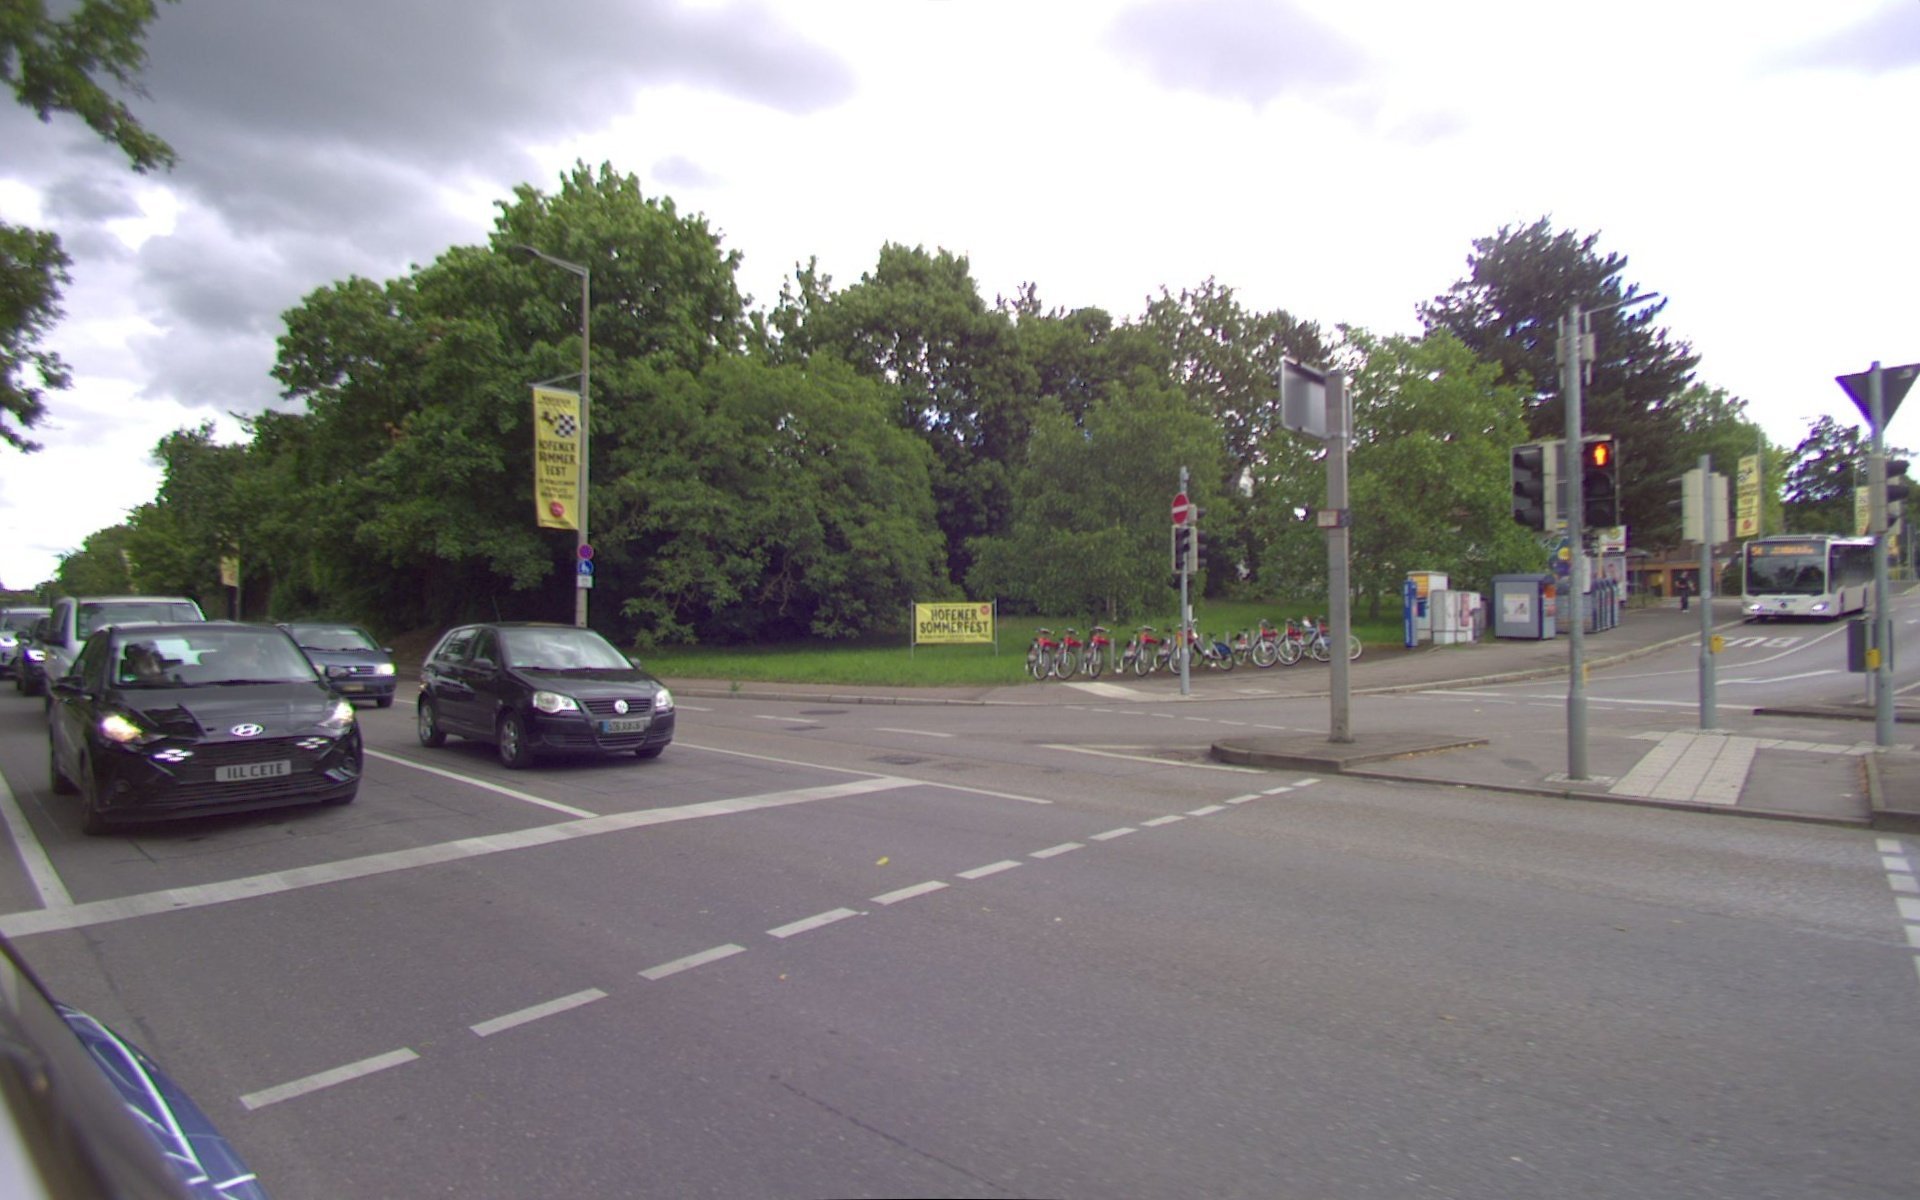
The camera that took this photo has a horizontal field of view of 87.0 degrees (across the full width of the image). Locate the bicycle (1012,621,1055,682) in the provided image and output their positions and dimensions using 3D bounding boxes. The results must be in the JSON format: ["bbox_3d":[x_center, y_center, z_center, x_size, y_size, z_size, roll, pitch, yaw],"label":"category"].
[{"bbox_3d":[1.638,1.130,22.686,0.537,1.262,1.939,-1,0,-8],"label":"bicycle"}]

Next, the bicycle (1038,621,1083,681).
[{"bbox_3d":[2.249,1.117,22.830,0.537,1.262,1.939,-1,0,-8],"label":"bicycle"}]

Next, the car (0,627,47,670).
[{"bbox_3d":[-30.017,1.505,31.993,1.537,1.276,3.825,1,-1,-45],"label":"car"}]

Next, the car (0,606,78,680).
[{"bbox_3d":[-25.163,1.103,27.287,1.783,1.808,4.505,0,0,-45],"label":"car"}]

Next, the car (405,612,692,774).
[{"bbox_3d":[-4.633,0.918,11.128,3.809,1.478,1.538,-2,-3,45],"label":"car"}]

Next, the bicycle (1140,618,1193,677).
[{"bbox_3d":[4.726,1.068,23.294,0.537,1.262,1.939,-1,0,-8],"label":"bicycle"}]

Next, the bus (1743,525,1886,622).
[{"bbox_3d":[33.142,-1.189,38.980,12.163,3.186,2.683,-4,2,-43],"label":"bus"}]

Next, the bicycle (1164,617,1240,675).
[{"bbox_3d":[5.631,1.049,23.664,0.536,1.262,1.941,-1,0,-29],"label":"bicycle"}]

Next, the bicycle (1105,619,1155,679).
[{"bbox_3d":[3.847,1.086,23.046,0.537,1.262,1.939,-1,0,-8],"label":"bicycle"}]

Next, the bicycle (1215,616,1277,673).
[{"bbox_3d":[6.788,1.026,24.130,0.537,1.262,1.940,-1,0,-12],"label":"bicycle"}]

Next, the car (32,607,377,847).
[{"bbox_3d":[-6.216,0.830,8.178,3.668,1.492,1.684,-2,-2,44],"label":"car"}]

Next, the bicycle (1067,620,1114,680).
[{"bbox_3d":[2.950,1.103,23.056,0.537,1.262,1.939,-1,0,-8],"label":"bicycle"}]

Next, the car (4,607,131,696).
[{"bbox_3d":[-19.305,1.071,21.825,4.336,1.731,1.731,-2,-3,45],"label":"car"}]

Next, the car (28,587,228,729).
[{"bbox_3d":[-13.113,0.822,15.811,5.284,1.857,1.885,-2,-2,45],"label":"car"}]

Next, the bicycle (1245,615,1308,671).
[{"bbox_3d":[7.643,1.008,24.497,0.537,1.262,1.940,-1,0,-12],"label":"bicycle"}]

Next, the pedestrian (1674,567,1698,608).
[{"bbox_3d":[30.204,-0.515,42.095,0.559,1.688,0.704,-1,0,-43],"label":"pedestrian"}]

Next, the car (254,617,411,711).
[{"bbox_3d":[-11.259,1.081,18.052,1.573,1.479,3.932,3,-3,-43],"label":"car"}]

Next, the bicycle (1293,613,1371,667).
[{"bbox_3d":[9.275,0.974,25.313,0.536,1.262,1.941,-1,0,-29],"label":"bicycle"}]

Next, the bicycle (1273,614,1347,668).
[{"bbox_3d":[8.632,0.987,25.026,0.536,1.262,1.942,-1,0,-23],"label":"bicycle"}]

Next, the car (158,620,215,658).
[{"bbox_3d":[-34.129,1.694,44.603,1.718,1.550,3.915,-1,0,-42],"label":"car"}]
